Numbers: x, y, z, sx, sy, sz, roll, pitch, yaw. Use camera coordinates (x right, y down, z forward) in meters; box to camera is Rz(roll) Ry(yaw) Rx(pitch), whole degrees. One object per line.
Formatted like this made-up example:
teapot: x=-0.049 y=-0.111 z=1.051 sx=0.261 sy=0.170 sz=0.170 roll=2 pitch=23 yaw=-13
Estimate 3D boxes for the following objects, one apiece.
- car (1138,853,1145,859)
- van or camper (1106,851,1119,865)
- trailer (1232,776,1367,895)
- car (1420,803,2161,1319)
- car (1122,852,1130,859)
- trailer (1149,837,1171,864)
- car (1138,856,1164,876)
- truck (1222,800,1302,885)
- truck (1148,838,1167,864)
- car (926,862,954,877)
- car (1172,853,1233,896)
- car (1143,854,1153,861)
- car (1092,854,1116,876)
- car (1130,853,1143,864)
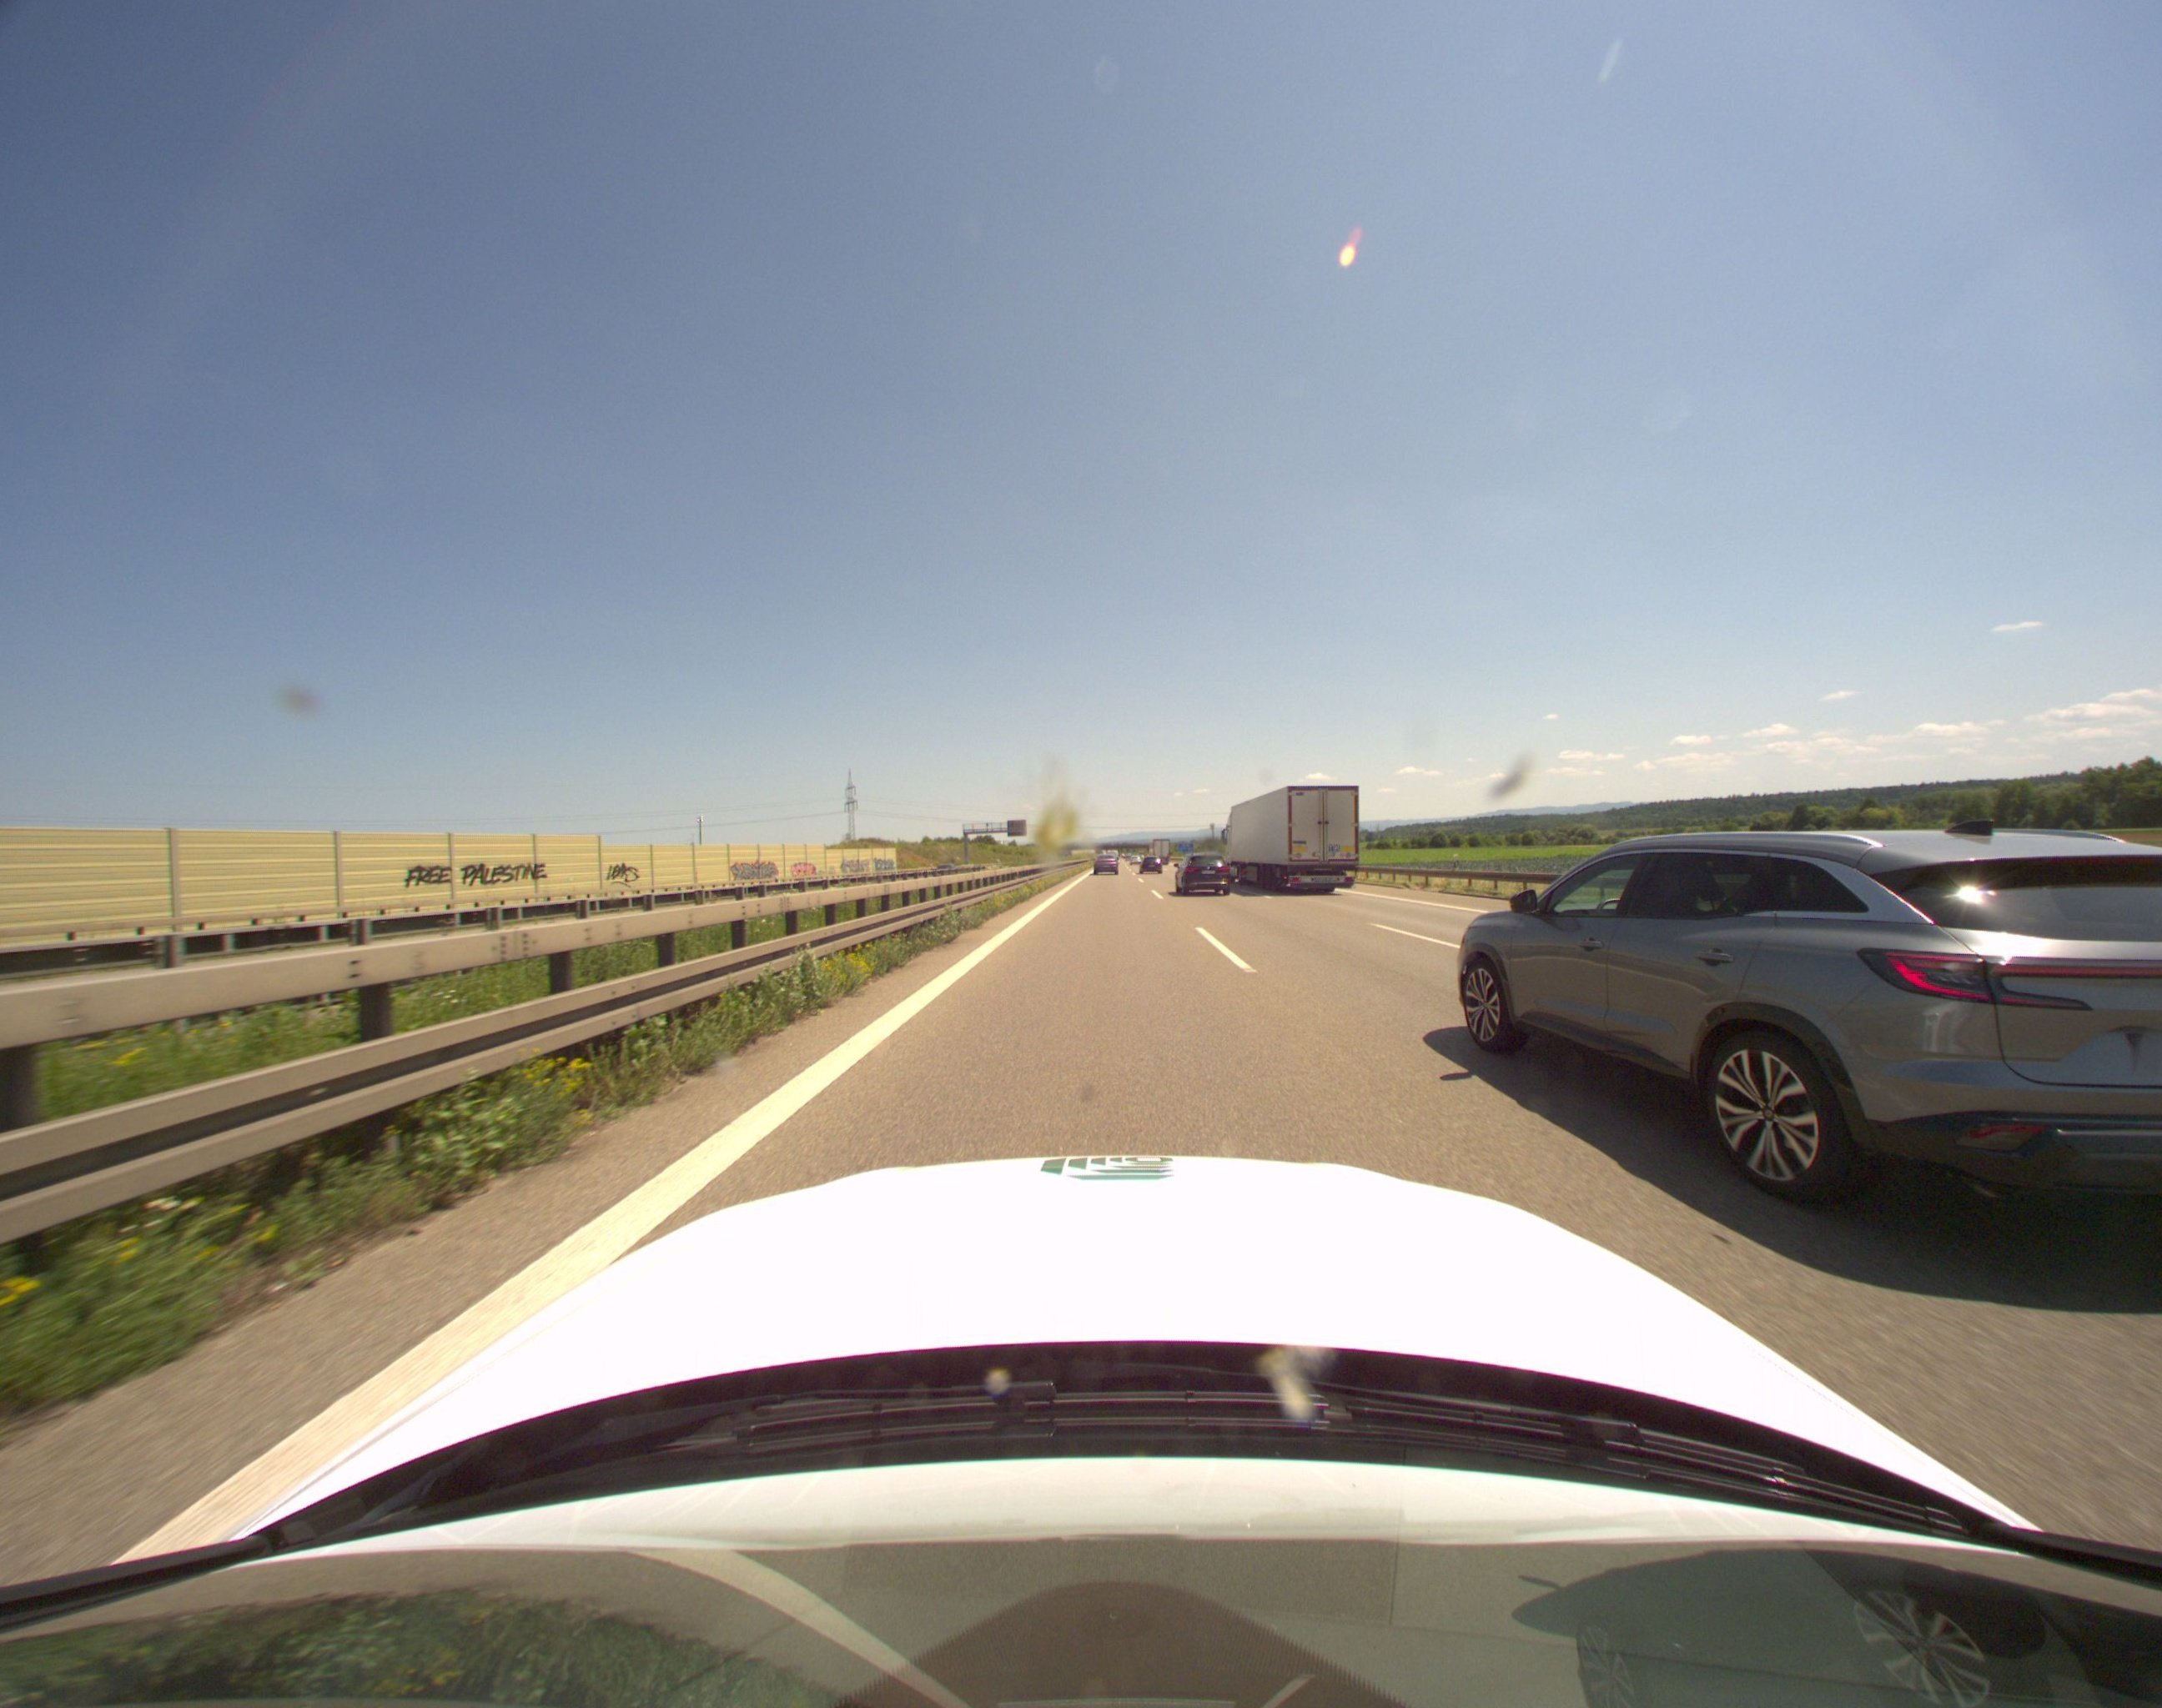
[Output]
car: x=18.686 y=0.631 z=250.450 sx=1.985 sy=1.683 sz=4.003 roll=0 pitch=0 yaw=3
van or camper: x=5.129 y=0.623 z=132.243 sx=2.102 sy=2.211 sz=5.269 roll=0 pitch=0 yaw=3
trailer: x=9.012 y=-0.603 z=35.685 sx=2.856 sy=4.220 sz=13.301 roll=0 pitch=0 yaw=2
car: x=3.888 y=0.635 z=4.932 sx=1.844 sy=1.648 sz=4.647 roll=-2 pitch=0 yaw=2
car: x=11.867 y=0.404 z=216.264 sx=1.985 sy=1.683 sz=4.003 roll=0 pitch=0 yaw=3
trailer: x=12.734 y=-0.498 z=132.306 sx=2.931 sy=4.198 sz=13.606 roll=0 pitch=0 yaw=3
car: x=5.794 y=0.979 z=68.058 sx=1.925 sy=1.574 sz=4.937 roll=0 pitch=0 yaw=2
truck: x=9.267 y=-0.530 z=42.469 sx=2.852 sy=4.091 sz=6.882 roll=0 pitch=0 yaw=2
truck: x=12.937 y=-0.466 z=138.311 sx=2.967 sy=4.228 sz=7.692 roll=0 pitch=0 yaw=3
car: x=-14.072 y=1.510 z=81.715 sx=1.986 sy=1.420 sz=4.002 roll=-1 pitch=0 yaw=2
car: x=4.639 y=0.760 z=31.501 sx=1.791 sy=1.562 sz=3.822 roll=0 pitch=0 yaw=0
car: x=14.932 y=0.800 z=181.499 sx=1.985 sy=1.683 sz=4.003 roll=0 pitch=0 yaw=3
car: x=1.832 y=0.881 z=65.807 sx=1.845 sy=1.664 sz=3.734 roll=0 pitch=0 yaw=0
car: x=8.824 y=0.750 z=130.544 sx=1.985 sy=1.683 sz=4.003 roll=0 pitch=0 yaw=3
